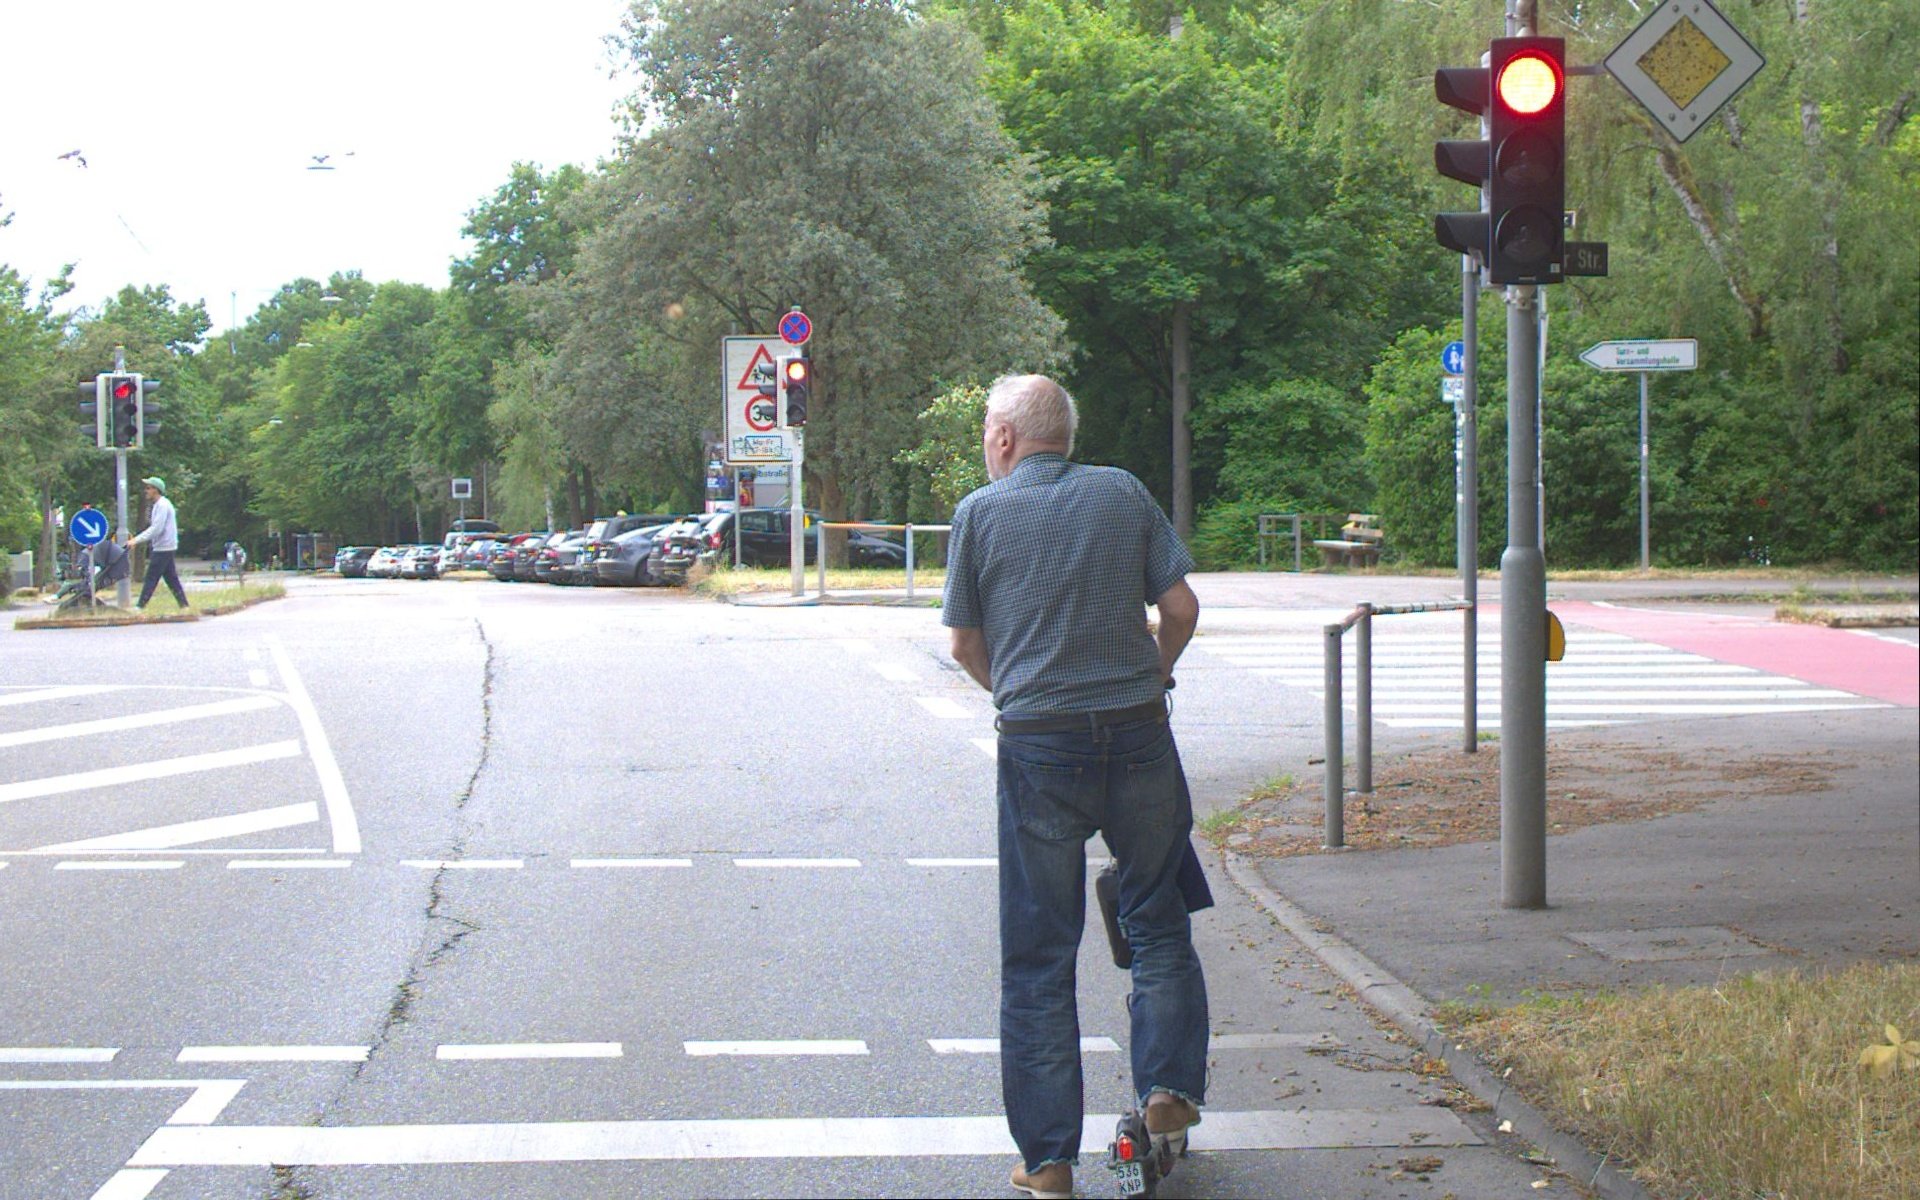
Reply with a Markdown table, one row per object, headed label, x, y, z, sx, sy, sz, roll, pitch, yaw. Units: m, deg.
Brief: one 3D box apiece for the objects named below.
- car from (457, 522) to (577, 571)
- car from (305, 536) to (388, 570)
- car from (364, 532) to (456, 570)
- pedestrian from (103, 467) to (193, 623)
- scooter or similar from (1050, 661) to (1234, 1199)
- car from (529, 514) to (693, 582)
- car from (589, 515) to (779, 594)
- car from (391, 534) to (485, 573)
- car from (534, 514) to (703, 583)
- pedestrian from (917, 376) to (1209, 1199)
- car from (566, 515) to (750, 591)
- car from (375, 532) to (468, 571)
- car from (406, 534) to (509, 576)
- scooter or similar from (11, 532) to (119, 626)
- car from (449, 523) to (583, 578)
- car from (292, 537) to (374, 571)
| label | x | y | z | sx | sy | sz | roll | pitch | yaw |
| --- | --- | --- | --- | --- | --- | --- | --- | --- | --- |
| car | -15.724 | -1.894 | 121.942 | 3.840 | 1.605 | 1.729 | -3 | 2 | -23 |
| car | -31.358 | -2.400 | 175.683 | 3.840 | 1.605 | 1.729 | -3 | 2 | -23 |
| car | -25.419 | -2.271 | 158.823 | 3.840 | 1.605 | 1.729 | -3 | 2 | -23 |
| pedestrian | -9.807 | -0.671 | 41.520 | 0.884 | 1.856 | 0.574 | -2 | 2 | -29 |
| scooter or similar | 0.409 | 0.748 | 7.428 | 0.282 | 1.174 | 1.177 | -1 | 1 | 8 |
| car | -9.058 | -1.354 | 89.114 | 3.840 | 1.605 | 1.729 | -3 | 2 | -23 |
| car | -6.165 | -1.037 | 76.814 | 3.841 | 1.605 | 1.729 | -3 | 2 | -24 |
| car | -23.402 | -2.110 | 154.121 | 3.840 | 1.605 | 1.729 | -3 | 2 | -23 |
| car | -8.618 | -1.307 | 86.702 | 3.840 | 1.605 | 1.729 | -3 | 2 | -23 |
| pedestrian | 0.237 | 0.421 | 7.625 | 0.573 | 1.807 | 0.420 | -1 | 1 | 8 |
| car | -6.968 | -1.090 | 79.355 | 3.840 | 1.605 | 1.729 | -3 | 2 | -23 |
| car | -24.476 | -2.209 | 156.253 | 3.840 | 1.605 | 1.729 | -3 | 2 | -23 |
| car | -20.878 | -1.878 | 142.818 | 3.840 | 1.605 | 1.729 | -3 | 2 | -23 |
| scooter or similar | -10.686 | -0.257 | 41.035 | 1.107 | 1.077 | 0.577 | -2 | 2 | -29 |
| car | -14.075 | -1.575 | 108.977 | 3.840 | 1.605 | 1.729 | -3 | 2 | -23 |
| car | -32.481 | -2.369 | 177.980 | 3.840 | 1.605 | 1.729 | -3 | 2 | -23 |
